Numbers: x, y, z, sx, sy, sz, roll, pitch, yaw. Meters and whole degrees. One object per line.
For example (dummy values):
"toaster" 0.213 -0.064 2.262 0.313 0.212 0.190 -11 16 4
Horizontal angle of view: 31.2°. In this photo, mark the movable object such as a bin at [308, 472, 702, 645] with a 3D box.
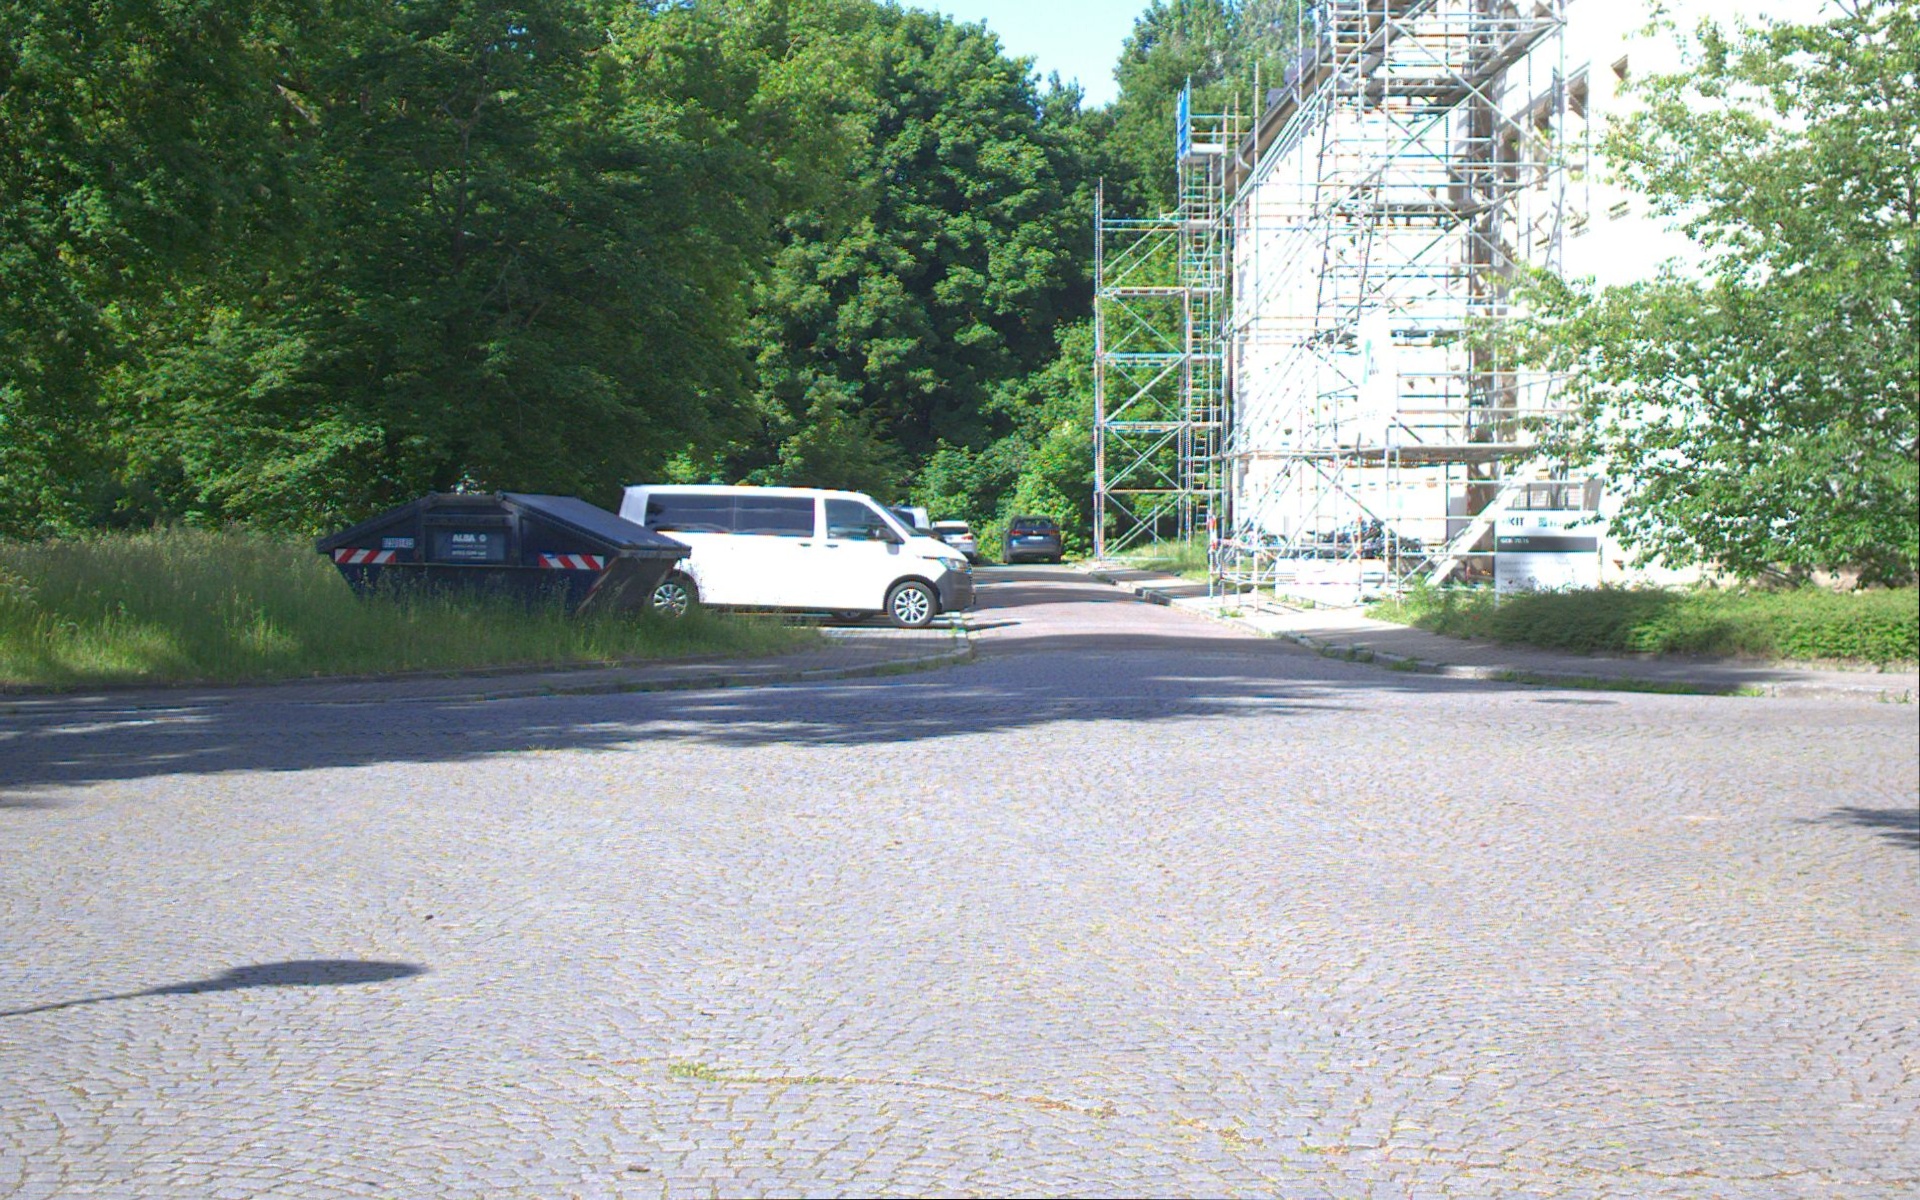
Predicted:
"movable object such as a bin" -4.752 -0.449 36.106 3.569 1.738 2.023 0 1 18

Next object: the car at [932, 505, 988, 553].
"car" -0.010 -2.394 115.194 1.812 1.574 4.135 0 1 -1

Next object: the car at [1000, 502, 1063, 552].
"car" 2.393 -2.462 115.491 1.971 1.662 4.086 0 1 -1

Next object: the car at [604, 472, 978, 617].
"car" -2.387 -0.801 49.197 5.234 2.009 1.950 0 1 -1
